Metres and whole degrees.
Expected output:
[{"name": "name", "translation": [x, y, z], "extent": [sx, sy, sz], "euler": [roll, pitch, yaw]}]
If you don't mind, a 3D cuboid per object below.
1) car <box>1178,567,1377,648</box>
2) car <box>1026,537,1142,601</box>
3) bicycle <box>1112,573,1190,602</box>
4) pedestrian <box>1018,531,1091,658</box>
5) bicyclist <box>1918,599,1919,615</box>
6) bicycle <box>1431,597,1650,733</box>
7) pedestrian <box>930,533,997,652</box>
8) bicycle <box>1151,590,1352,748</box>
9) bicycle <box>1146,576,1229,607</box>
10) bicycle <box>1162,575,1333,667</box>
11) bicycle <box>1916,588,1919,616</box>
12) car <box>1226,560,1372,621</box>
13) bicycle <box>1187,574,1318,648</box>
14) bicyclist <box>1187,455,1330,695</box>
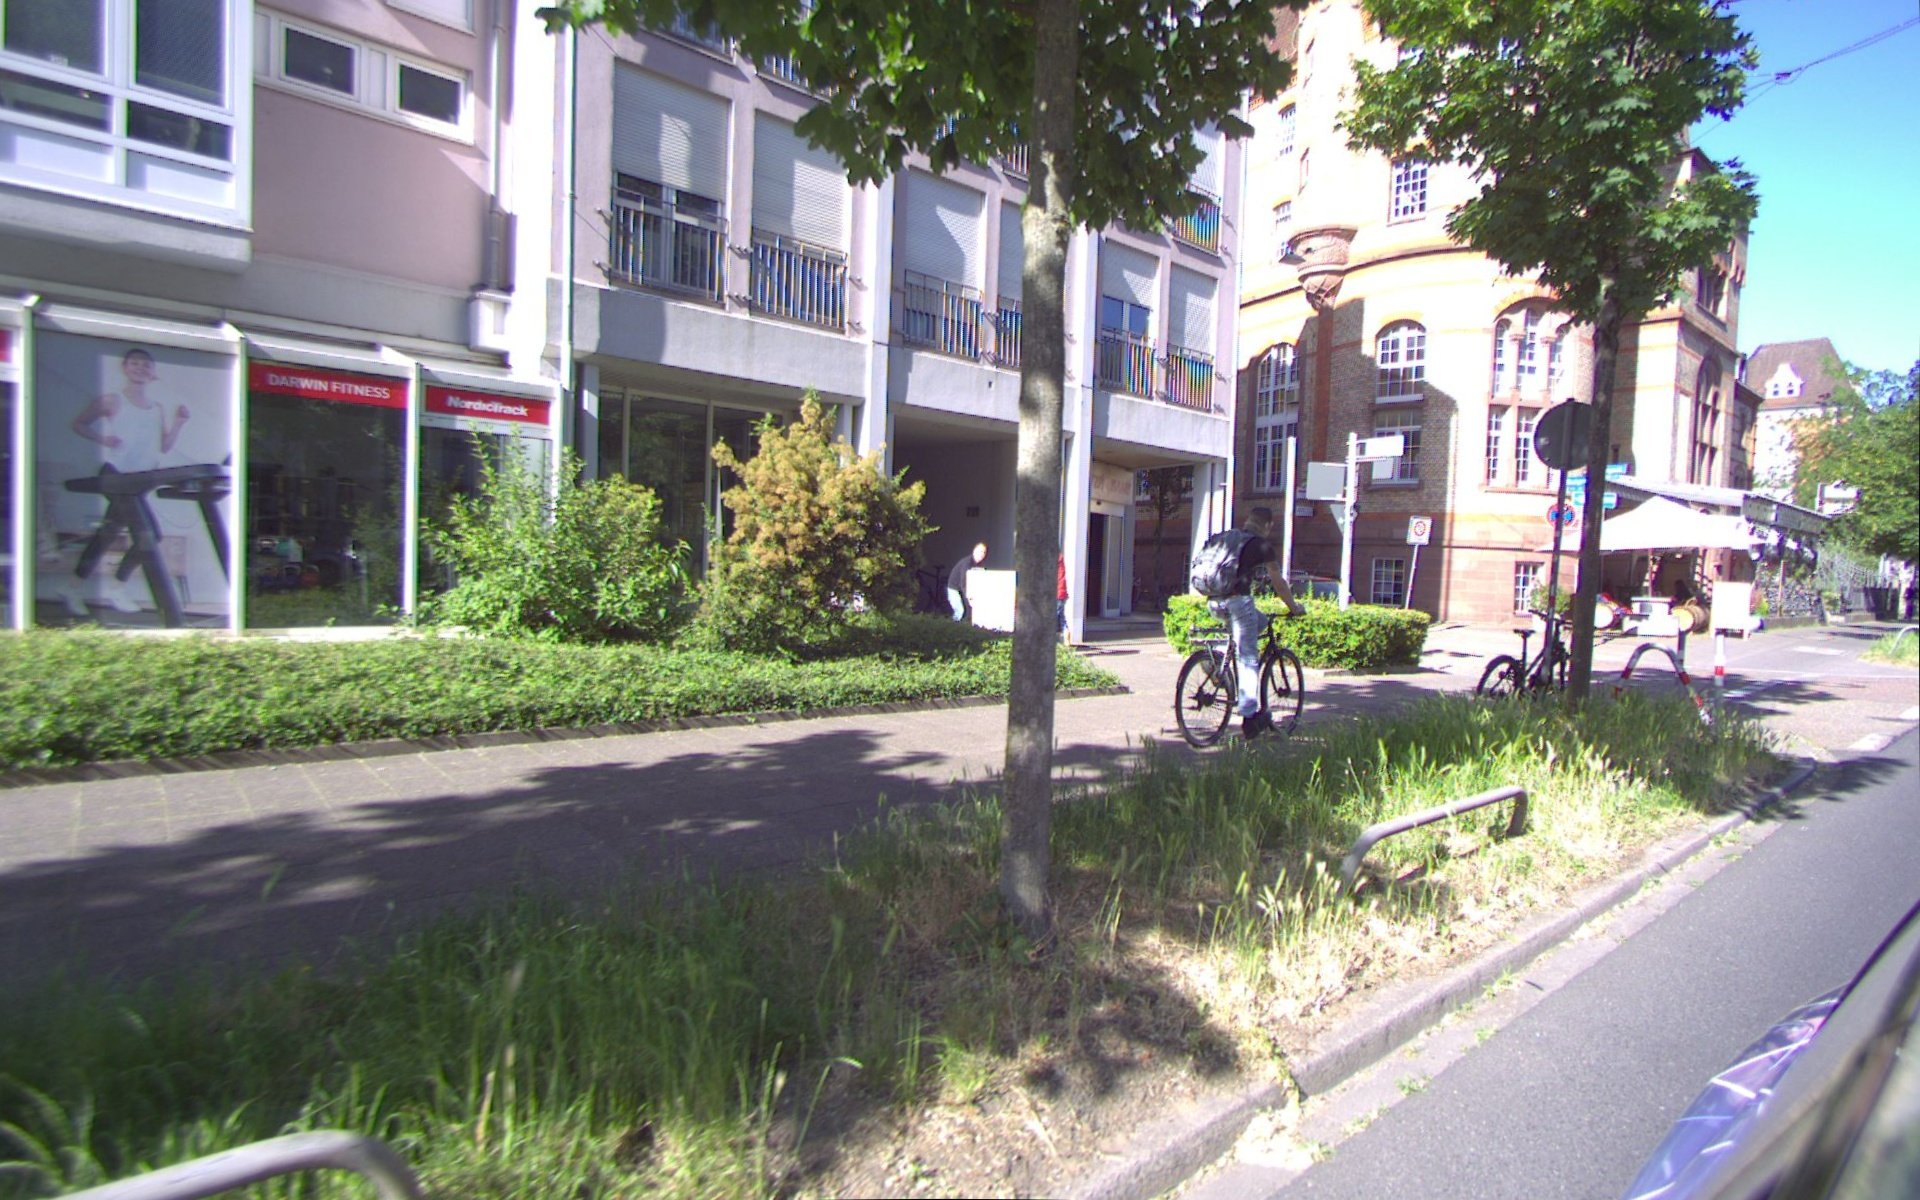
[{"name": "car", "translation": [6.697, 0.084, 21.796], "extent": [1.824, 1.541, 3.964], "euler": [-1, 2, -27]}, {"name": "car", "translation": [4.756, -1.234, 39.607], "extent": [2.093, 2.331, 4.815], "euler": [1, 2, -27]}, {"name": "bicycle", "translation": [6.906, -0.463, 36.562], "extent": [2.714, 1.040, 1.061], "euler": [-1, 1, -26]}, {"name": "pedestrian", "translation": [1.258, -0.089, 13.556], "extent": [0.654, 1.622, 0.594], "euler": [8, 6, 43]}, {"name": "bicyclist", "translation": [41.205, -0.185, 42.875], "extent": [0.873, 1.715, 0.647], "euler": [1, 5, -40]}, {"name": "bicycle", "translation": [5.142, 0.545, 8.938], "extent": [1.980, 1.079, 0.594], "euler": [1, 2, -25]}, {"name": "pedestrian", "translation": [0.044, -0.117, 14.495], "extent": [0.654, 1.622, 0.594], "euler": [8, 6, 43]}, {"name": "bicycle", "translation": [2.285, 0.468, 7.804], "extent": [1.828, 1.040, 0.590], "euler": [-1, 3, -42]}, {"name": "bicycle", "translation": [7.796, -0.309, 34.635], "extent": [2.714, 1.040, 1.061], "euler": [-1, 1, -26]}, {"name": "bicycle", "translation": [3.867, 0.260, 13.826], "extent": [0.675, 1.040, 2.202], "euler": [3, 2, -39]}, {"name": "bicycle", "translation": [41.213, 0.128, 42.929], "extent": [1.810, 1.190, 0.654], "euler": [1, 5, -40]}, {"name": "car", "translation": [9.651, -0.340, 29.146], "extent": [1.758, 1.541, 3.966], "euler": [-2, 4, -24]}, {"name": "bicycle", "translation": [4.681, 0.193, 16.144], "extent": [2.159, 1.040, 0.688], "euler": [3, 2, -33]}, {"name": "bicyclist", "translation": [2.299, -0.196, 7.785], "extent": [0.874, 1.716, 0.668], "euler": [-1, 2, -42]}]
